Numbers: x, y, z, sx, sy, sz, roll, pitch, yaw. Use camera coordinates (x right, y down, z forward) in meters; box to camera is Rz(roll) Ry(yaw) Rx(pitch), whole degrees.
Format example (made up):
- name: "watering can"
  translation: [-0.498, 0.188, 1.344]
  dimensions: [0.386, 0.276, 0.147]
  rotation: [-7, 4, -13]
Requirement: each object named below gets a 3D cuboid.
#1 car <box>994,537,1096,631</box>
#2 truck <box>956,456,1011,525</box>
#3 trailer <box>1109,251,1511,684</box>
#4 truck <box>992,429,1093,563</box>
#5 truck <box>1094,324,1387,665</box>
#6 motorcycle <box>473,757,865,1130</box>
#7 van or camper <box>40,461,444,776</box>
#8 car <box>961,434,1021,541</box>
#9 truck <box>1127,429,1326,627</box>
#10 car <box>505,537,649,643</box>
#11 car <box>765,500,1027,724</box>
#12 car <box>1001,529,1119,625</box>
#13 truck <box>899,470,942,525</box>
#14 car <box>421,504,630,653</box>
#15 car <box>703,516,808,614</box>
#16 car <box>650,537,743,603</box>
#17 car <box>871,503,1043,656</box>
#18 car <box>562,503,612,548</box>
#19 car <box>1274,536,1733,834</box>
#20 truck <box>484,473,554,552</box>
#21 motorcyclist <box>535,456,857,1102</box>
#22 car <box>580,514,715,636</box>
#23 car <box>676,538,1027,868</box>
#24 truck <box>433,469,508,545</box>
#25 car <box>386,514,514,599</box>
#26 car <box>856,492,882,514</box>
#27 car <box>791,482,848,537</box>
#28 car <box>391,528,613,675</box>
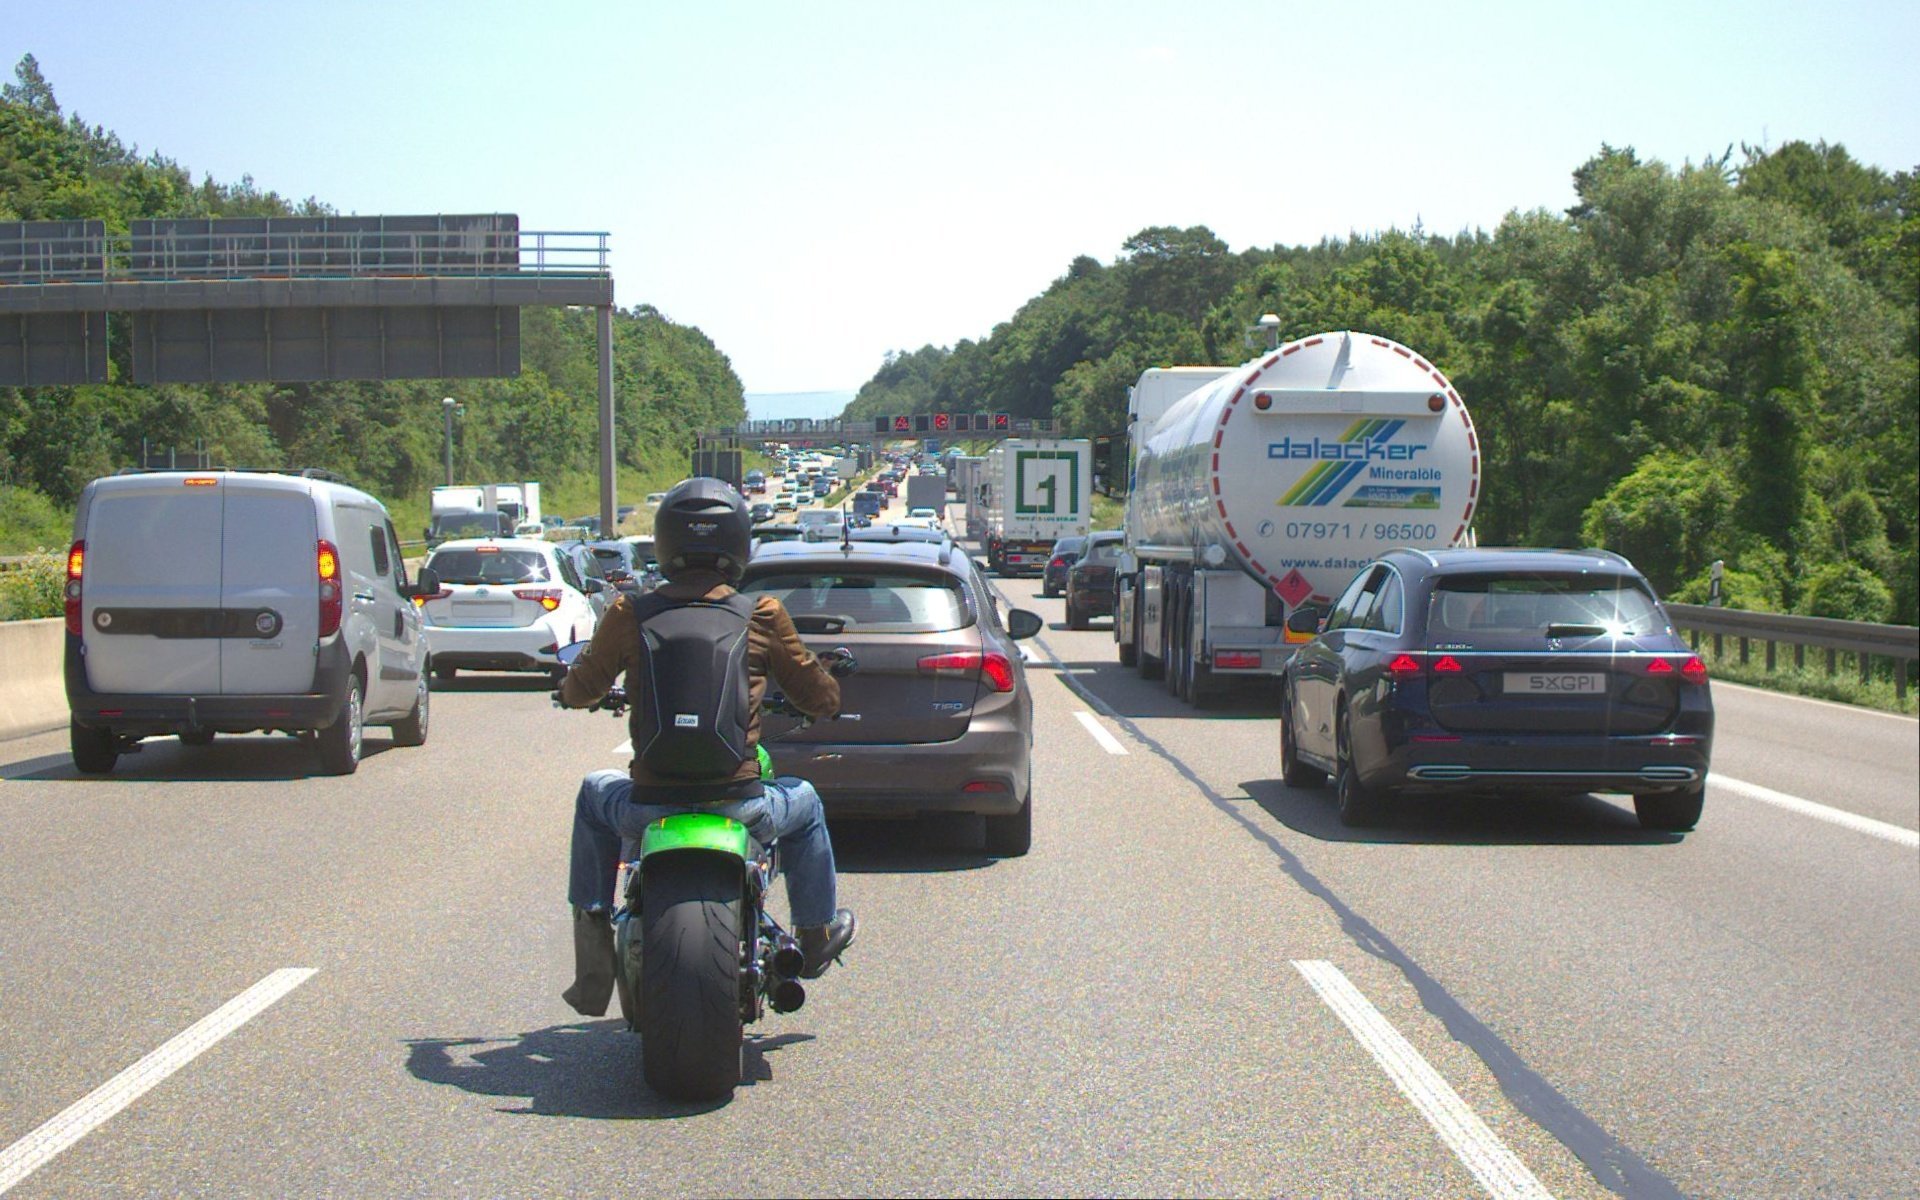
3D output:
- name: "car"
  translation: [1.854, -0.350, 75.850]
  dimensions: [1.993, 2.007, 4.000]
  rotation: [1, 0, -2]
- name: "truck"
  translation: [1.191, -5.699, 180.386]
  dimensions: [2.696, 3.394, 10.479]
  rotation: [0, 1, 0]
- name: "trailer"
  translation: [3.215, -1.149, 34.668]
  dimensions: [2.828, 3.658, 10.733]
  rotation: [1, 0, 0]
- name: "truck"
  translation: [2.525, -3.054, 103.261]
  dimensions: [2.854, 3.808, 7.187]
  rotation: [1, 0, 2]
- name: "truck"
  translation: [3.165, -1.156, 40.451]
  dimensions: [2.828, 3.658, 6.430]
  rotation: [1, 0, 0]
- name: "motorcycle"
  translation: [-0.766, 0.920, 9.822]
  dimensions: [0.936, 0.790, 2.299]
  rotation: [1, 1, 0]
- name: "van or camper"
  translation: [-4.665, 0.046, 22.978]
  dimensions: [1.853, 1.874, 4.562]
  rotation: [1, 2, -2]
- name: "car"
  translation: [1.180, -4.350, 134.912]
  dimensions: [2.167, 3.879, 9.330]
  rotation: [1, 0, 0]
- name: "truck"
  translation: [4.232, -1.169, 56.115]
  dimensions: [2.388, 2.969, 8.253]
  rotation: [0, 1, -1]
- name: "car"
  translation: [-5.588, -0.151, 50.135]
  dimensions: [1.993, 1.459, 4.001]
  rotation: [1, 0, -6]
- name: "car"
  translation: [-0.538, 0.087, 28.502]
  dimensions: [1.993, 1.705, 4.000]
  rotation: [1, 0, -1]
- name: "car"
  translation: [1.620, -0.373, 56.910]
  dimensions: [1.776, 1.522, 4.000]
  rotation: [1, 0, 0]
- name: "truck"
  translation: [-2.545, -6.597, 222.078]
  dimensions: [2.696, 3.394, 10.479]
  rotation: [0, 1, 0]
- name: "car"
  translation: [-5.189, -0.254, 41.551]
  dimensions: [1.993, 1.678, 4.330]
  rotation: [1, 0, 0]
- name: "car"
  translation: [-4.292, -0.731, 72.792]
  dimensions: [1.993, 2.007, 4.000]
  rotation: [1, 0, 0]
- name: "car"
  translation: [-5.902, -0.665, 77.304]
  dimensions: [1.764, 1.437, 4.000]
  rotation: [1, 0, 0]
- name: "car"
  translation: [-0.079, -0.249, 42.229]
  dimensions: [1.993, 1.769, 4.000]
  rotation: [1, 0, -1]
- name: "car"
  translation: [-16.585, -3.302, 152.867]
  dimensions: [1.784, 1.831, 4.293]
  rotation: [1, 0, -1]
- name: "car"
  translation: [2.896, 0.411, 19.299]
  dimensions: [1.792, 1.453, 4.624]
  rotation: [1, 0, 0]
- name: "truck"
  translation: [-23.378, -4.577, 182.391]
  dimensions: [2.692, 3.976, 7.990]
  rotation: [1, 0, 0]
- name: "motorcyclist"
  translation: [-0.707, 0.467, 9.505]
  dimensions: [0.799, 1.682, 1.016]
  rotation: [1, 0, 0]
- name: "car"
  translation: [-5.339, -0.423, 59.162]
  dimensions: [1.993, 2.007, 4.000]
  rotation: [1, 0, -1]
- name: "car"
  translation: [-0.498, 0.421, 17.270]
  dimensions: [1.541, 1.445, 4.000]
  rotation: [1, 1, 0]
- name: "truck"
  translation: [-19.817, -3.737, 139.496]
  dimensions: [2.177, 2.875, 6.743]
  rotation: [1, 0, -1]
- name: "car"
  translation: [-9.234, -0.813, 62.552]
  dimensions: [1.824, 1.489, 4.000]
  rotation: [0, 1, -1]
- name: "car"
  translation: [-6.602, -7.036, 249.066]
  dimensions: [1.770, 1.550, 4.000]
  rotation: [0, 1, 0]
- name: "car"
  translation: [-5.200, -3.343, 127.584]
  dimensions: [1.993, 2.007, 4.000]
  rotation: [0, 1, 0]
- name: "car"
  translation: [-4.654, 0.008, 35.417]
  dimensions: [1.776, 1.406, 4.000]
  rotation: [1, 0, 0]
